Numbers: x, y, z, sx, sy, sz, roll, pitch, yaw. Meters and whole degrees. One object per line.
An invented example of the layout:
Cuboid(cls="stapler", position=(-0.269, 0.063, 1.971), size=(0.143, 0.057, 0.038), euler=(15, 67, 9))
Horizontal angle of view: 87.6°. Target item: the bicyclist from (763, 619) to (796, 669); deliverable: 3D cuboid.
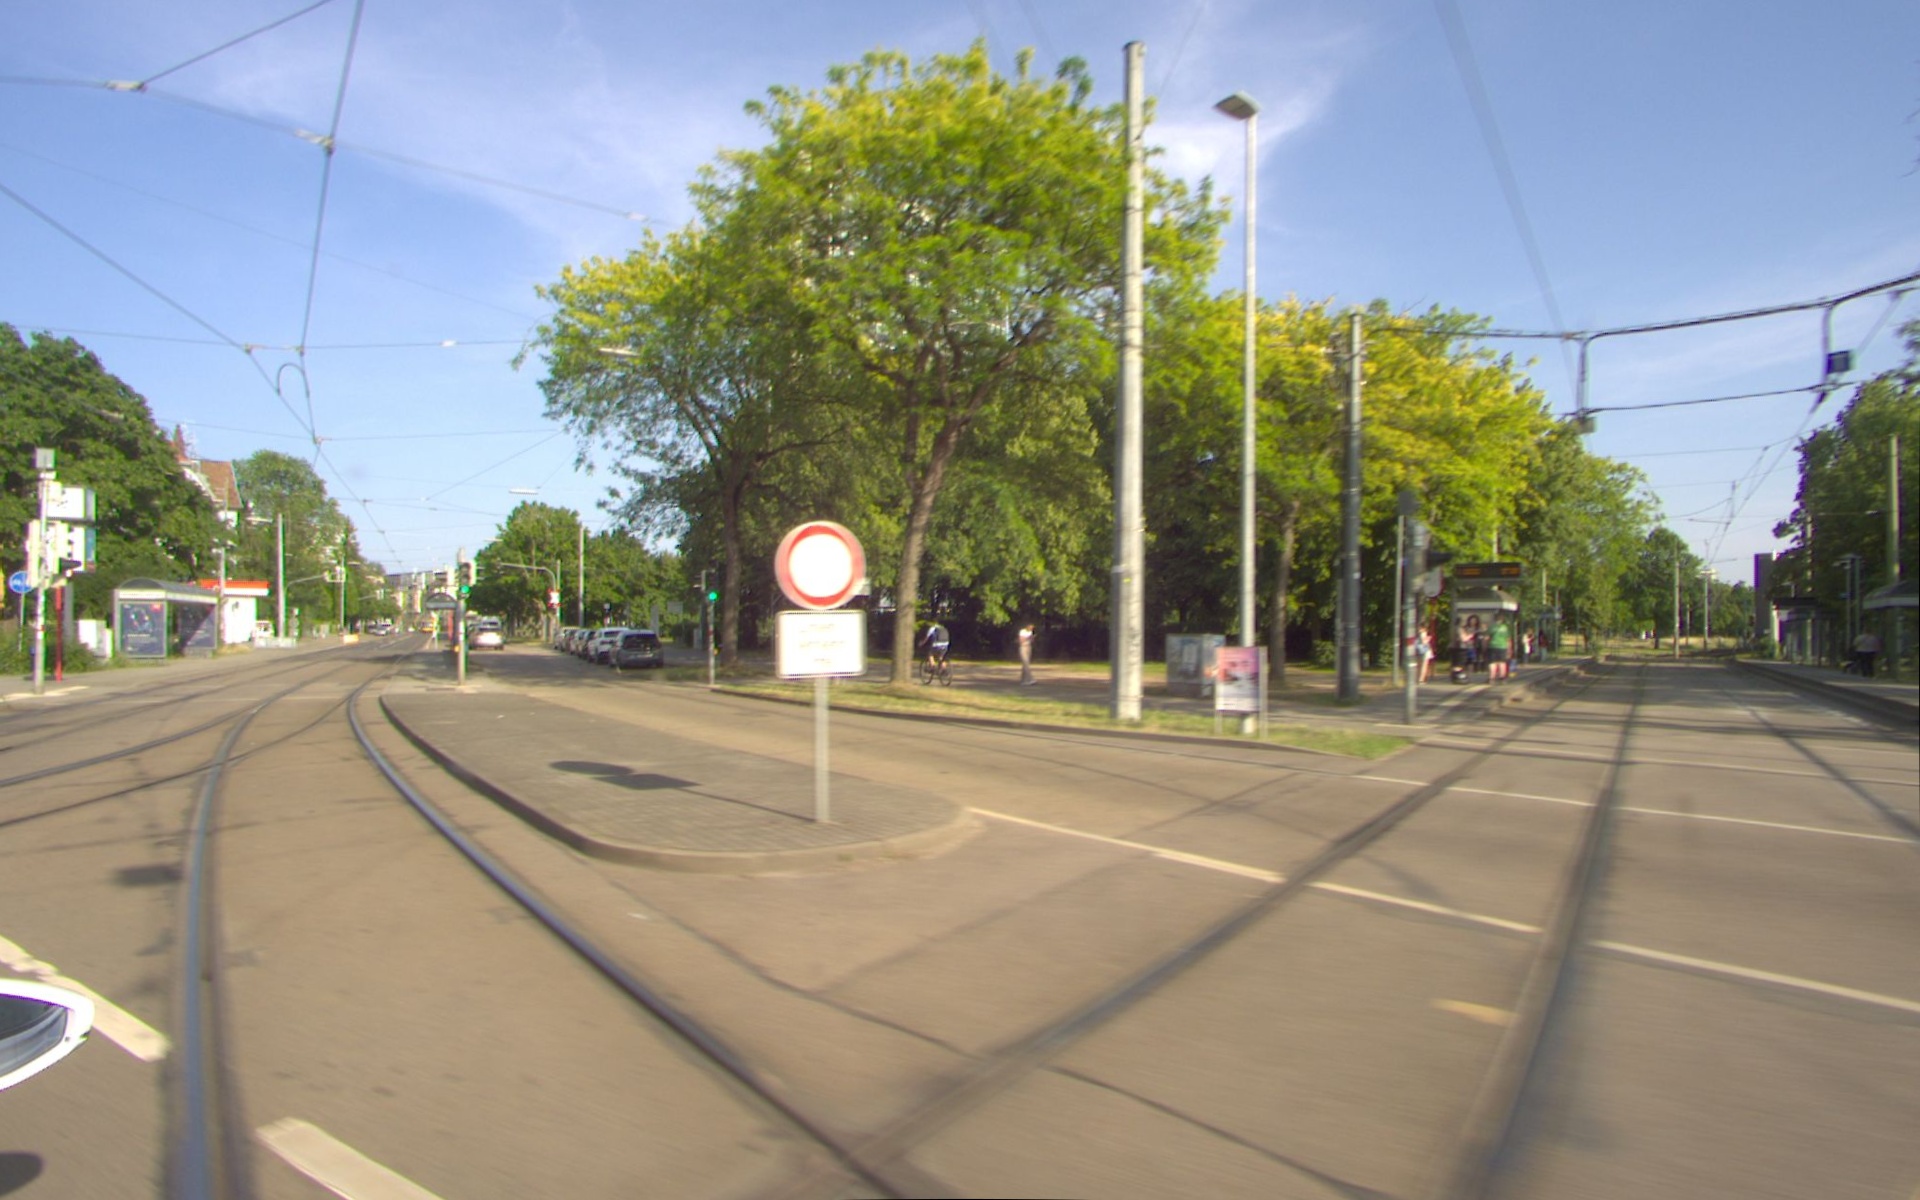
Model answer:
Cuboid(cls="bicyclist", position=(-6.614, 1.579, 36.693), size=(0.713, 1.769, 1.131), euler=(-3, 2, -38))

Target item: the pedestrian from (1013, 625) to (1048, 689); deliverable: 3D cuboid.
Cuboid(cls="pedestrian", position=(1.890, 1.527, 27.010), size=(0.635, 1.686, 0.685), euler=(1, -1, -38))

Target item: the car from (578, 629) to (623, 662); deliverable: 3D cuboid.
Cuboid(cls="car", position=(-18.514, 2.311, 51.502), size=(1.830, 1.535, 3.986), euler=(0, -1, -24))

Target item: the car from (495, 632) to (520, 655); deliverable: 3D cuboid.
Cuboid(cls="car", position=(-43.396, 4.197, 95.970), size=(1.971, 2.038, 3.985), euler=(3, -4, -27))

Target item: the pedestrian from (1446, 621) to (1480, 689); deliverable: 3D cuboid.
Cuboid(cls="pedestrian", position=(12.748, 1.374, 25.366), size=(0.681, 1.686, 0.639), euler=(0, -1, 36))

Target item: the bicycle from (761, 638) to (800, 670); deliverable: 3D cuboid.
Cuboid(cls="bicycle", position=(-6.595, 1.970, 36.729), size=(0.635, 1.102, 1.719), euler=(-2, 1, -39))

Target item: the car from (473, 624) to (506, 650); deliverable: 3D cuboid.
Cuboid(cls="car", position=(-31.315, 2.449, 66.556), size=(1.814, 1.620, 3.800), euler=(3, -3, -27))

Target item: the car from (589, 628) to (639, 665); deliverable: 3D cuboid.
Cuboid(cls="car", position=(-15.861, 2.080, 45.793), size=(1.830, 1.535, 3.986), euler=(0, -1, -24))

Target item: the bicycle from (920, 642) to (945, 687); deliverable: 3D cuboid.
Cuboid(cls="bicycle", position=(-0.752, 1.757, 27.729), size=(0.630, 1.102, 1.940), euler=(-1, 0, 0))

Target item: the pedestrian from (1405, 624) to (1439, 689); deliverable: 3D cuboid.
Cuboid(cls="pedestrian", position=(11.867, 1.441, 25.722), size=(0.681, 1.631, 0.639), euler=(0, -1, 36))

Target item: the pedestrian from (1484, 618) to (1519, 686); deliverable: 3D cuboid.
Cuboid(cls="pedestrian", position=(13.711, 1.300, 25.352), size=(0.681, 1.686, 0.639), euler=(0, -1, 36))

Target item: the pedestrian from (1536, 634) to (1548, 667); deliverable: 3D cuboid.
Cuboid(cls="pedestrian", position=(29.190, 2.529, 50.227), size=(0.478, 1.687, 0.412), euler=(0, -1, 35))

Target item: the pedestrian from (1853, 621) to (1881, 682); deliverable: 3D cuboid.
Cuboid(cls="pedestrian", position=(28.796, 1.640, 31.801), size=(0.598, 1.890, 0.459), euler=(-1, -4, 40))

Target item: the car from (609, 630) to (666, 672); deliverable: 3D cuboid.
Cuboid(cls="car", position=(-13.243, 2.044, 40.986), size=(1.829, 1.535, 3.987), euler=(0, -1, -23))

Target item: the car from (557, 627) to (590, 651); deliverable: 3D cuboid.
Cuboid(cls="car", position=(-25.869, 2.569, 67.012), size=(1.830, 1.535, 3.986), euler=(0, -1, -24))

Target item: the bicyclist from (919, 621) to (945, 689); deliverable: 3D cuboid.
Cuboid(cls="bicyclist", position=(-0.760, 1.485, 27.477), size=(0.638, 1.769, 1.140), euler=(-1, 1, 0))

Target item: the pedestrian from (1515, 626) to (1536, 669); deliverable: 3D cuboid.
Cuboid(cls="pedestrian", position=(24.063, 2.022, 42.609), size=(0.666, 1.822, 0.606), euler=(4, -4, -40))
